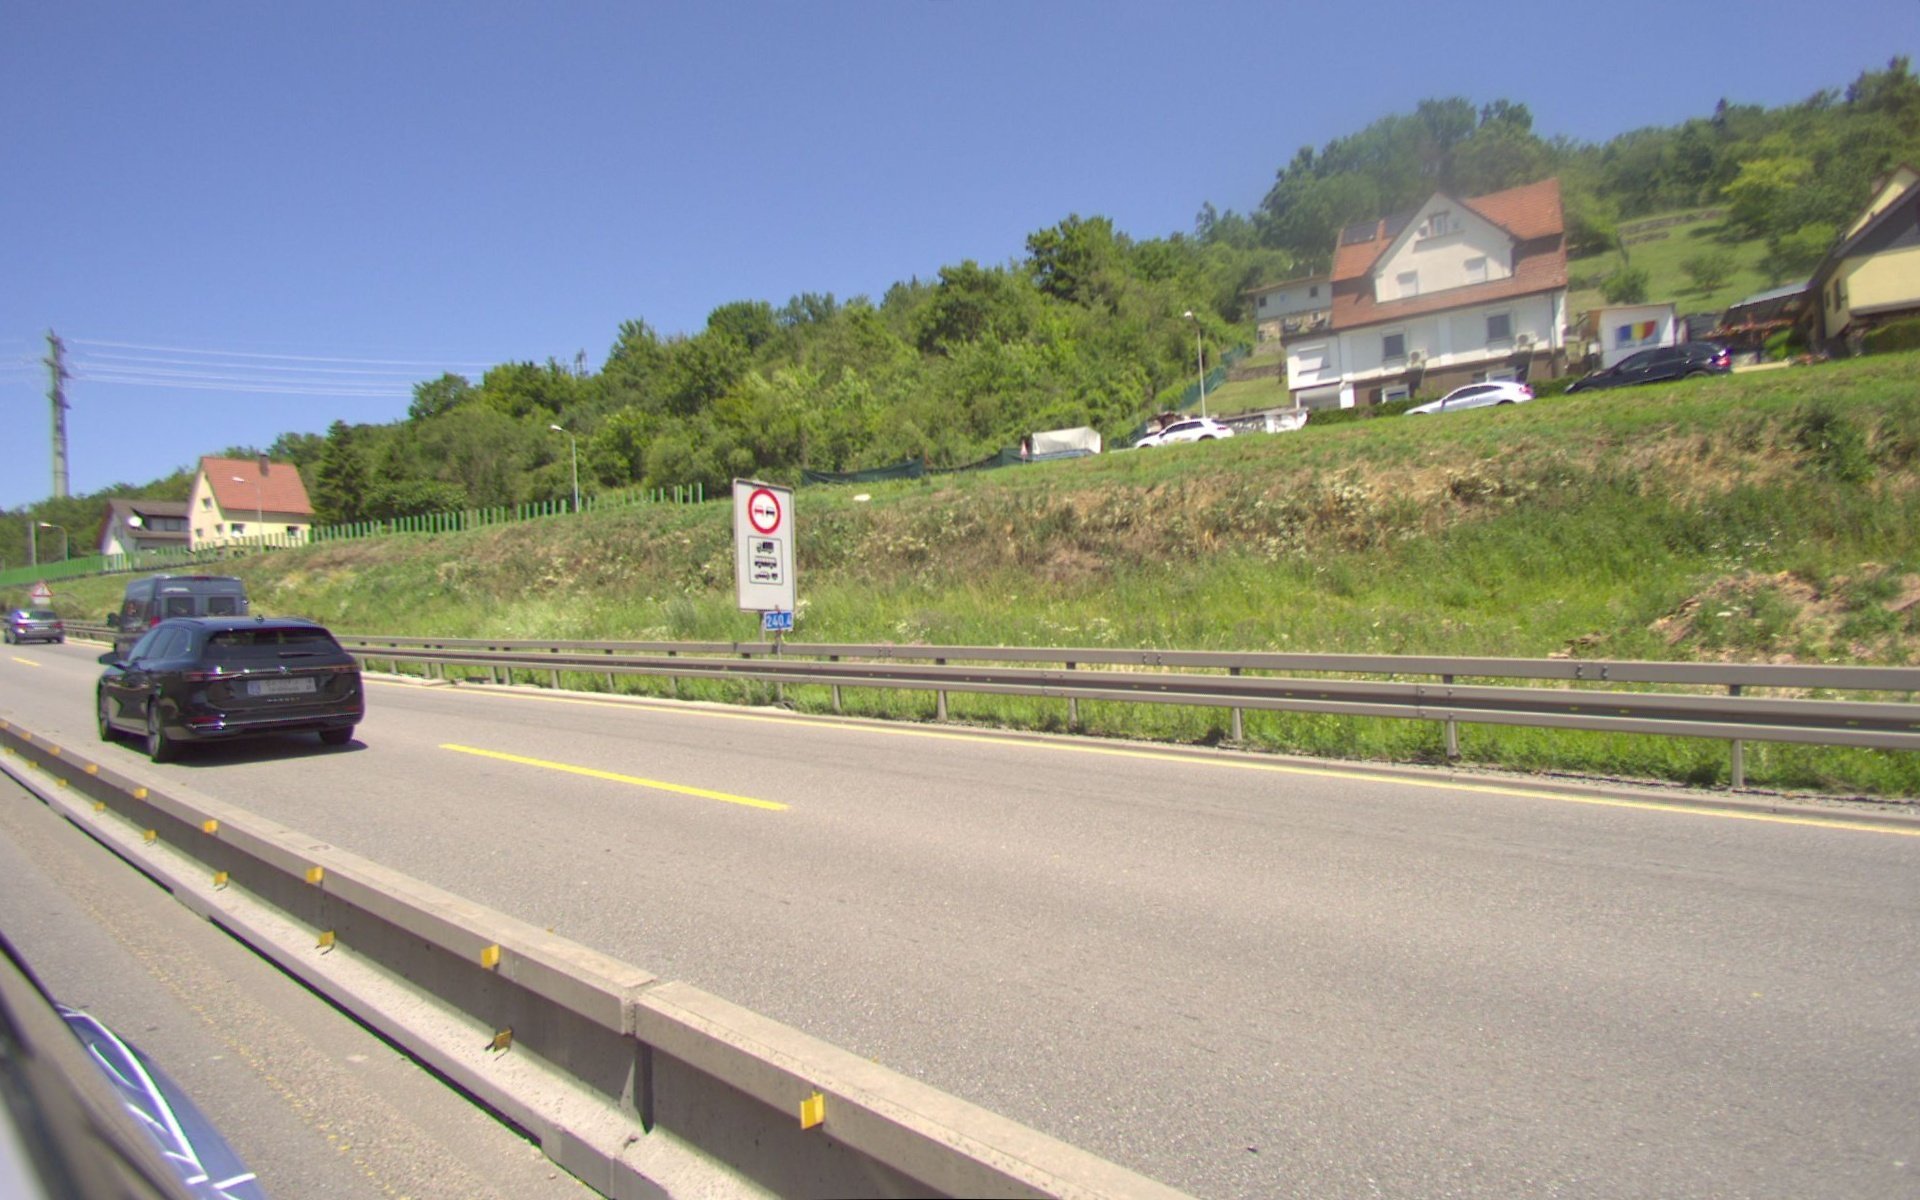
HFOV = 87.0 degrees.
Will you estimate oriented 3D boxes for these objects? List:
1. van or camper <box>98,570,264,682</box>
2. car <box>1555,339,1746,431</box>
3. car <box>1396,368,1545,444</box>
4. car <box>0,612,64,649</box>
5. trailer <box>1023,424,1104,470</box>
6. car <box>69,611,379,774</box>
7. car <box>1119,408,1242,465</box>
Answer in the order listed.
[{"bbox_3d":[-20.332,0.629,26.284,6.560,2.593,2.118,-1,0,41],"label":"van or camper"},{"bbox_3d":[22.142,-6.836,32.642,4.963,2.023,2.052,0,0,36],"label":"car"},{"bbox_3d":[17.830,-6.720,35.414,4.421,1.886,1.976,0,0,35],"label":"car"},{"bbox_3d":[-43.112,1.366,46.932,4.283,1.594,1.755,-1,0,41],"label":"car"},{"bbox_3d":[4.498,-6.576,43.842,3.025,1.527,1.889,0,0,30],"label":"trailer"},{"bbox_3d":[-8.589,0.896,11.626,4.831,1.486,1.824,-1,-1,41],"label":"car"},{"bbox_3d":[8.929,-6.562,41.060,4.537,1.668,1.979,0,0,31],"label":"car"}]
